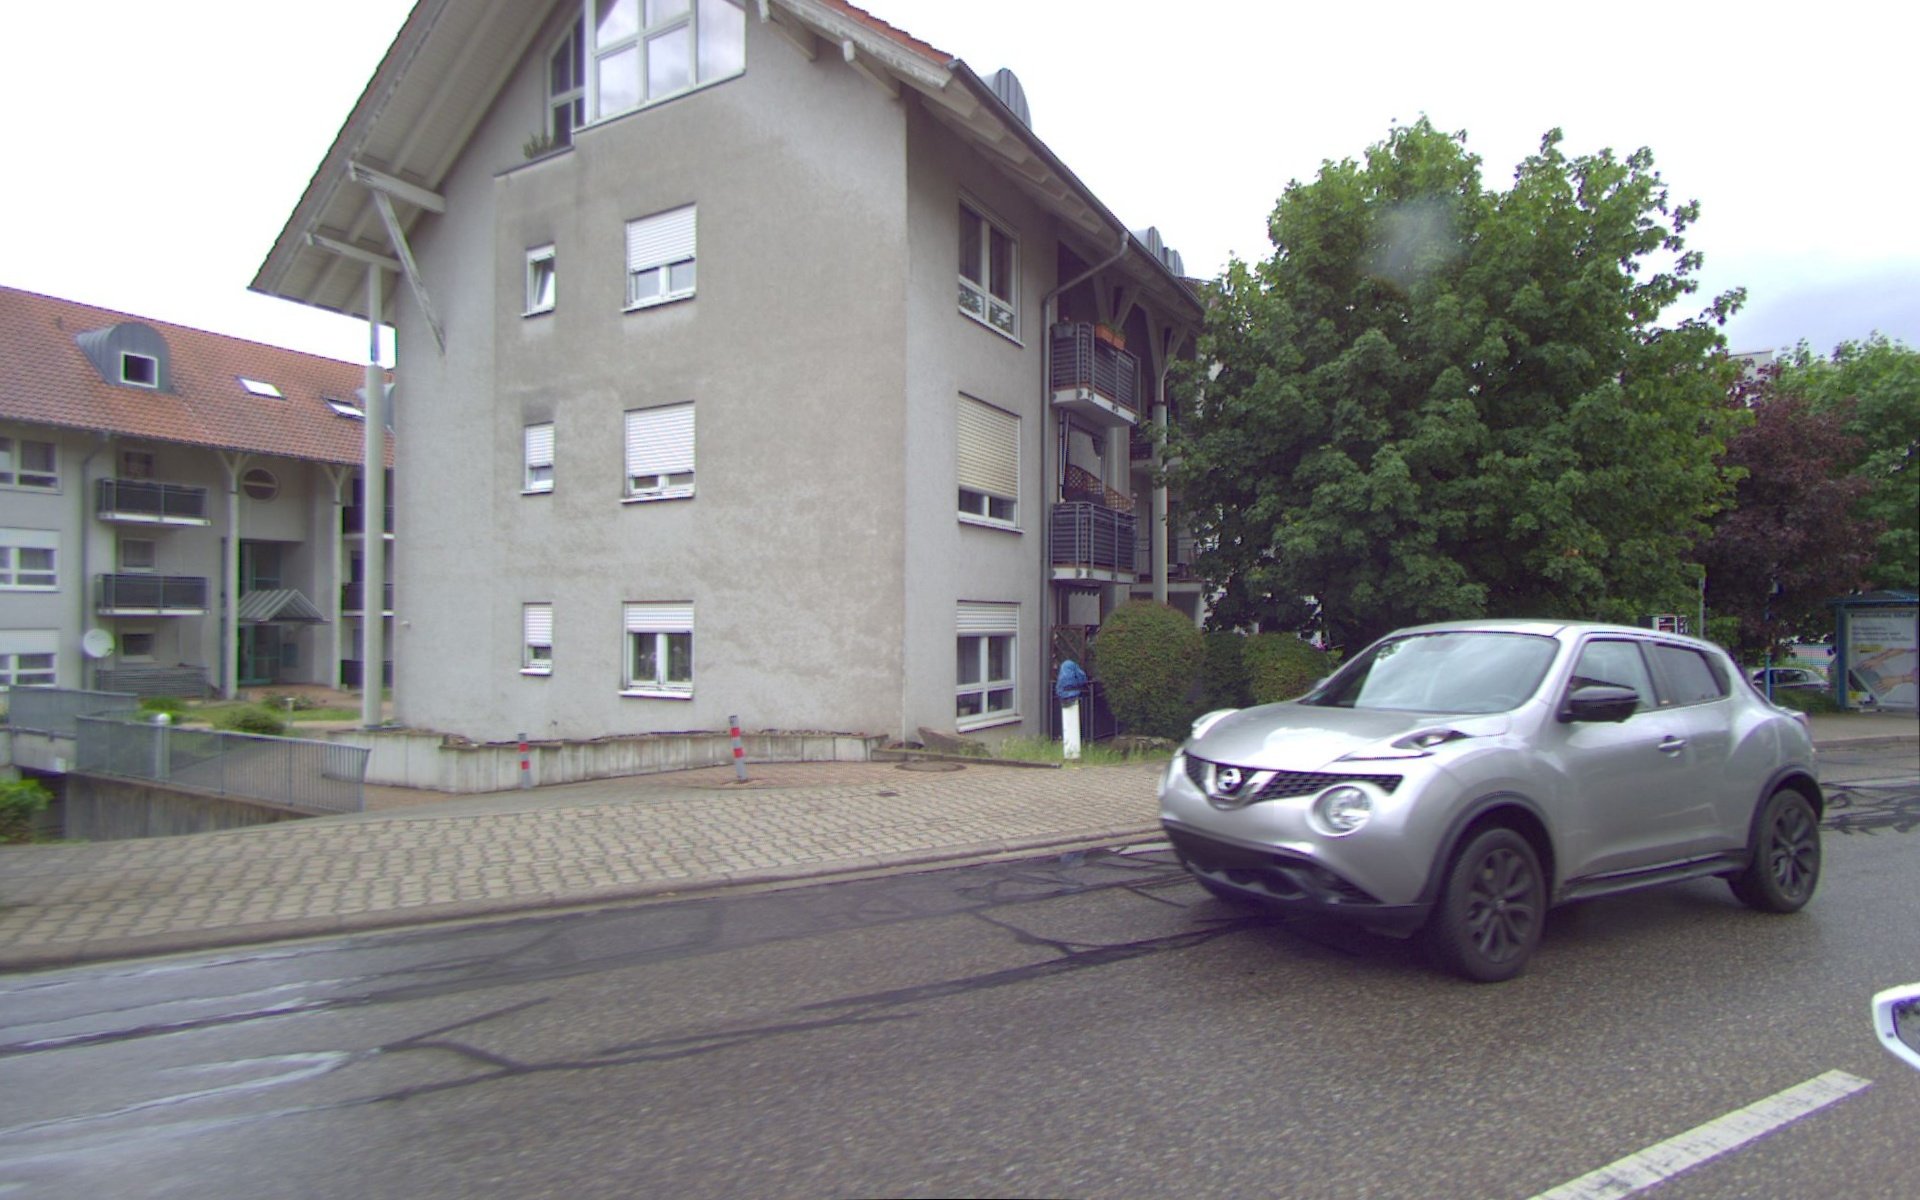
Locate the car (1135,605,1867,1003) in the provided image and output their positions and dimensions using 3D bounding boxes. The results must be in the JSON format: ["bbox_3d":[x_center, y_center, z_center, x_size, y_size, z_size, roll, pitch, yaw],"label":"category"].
[{"bbox_3d":[3.059,0.865,5.578,3.949,1.545,1.657,1,-2,-27],"label":"car"}]

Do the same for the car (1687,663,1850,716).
[{"bbox_3d":[24.371,2.662,30.304,4.102,1.440,1.992,1,-2,-19],"label":"car"}]
